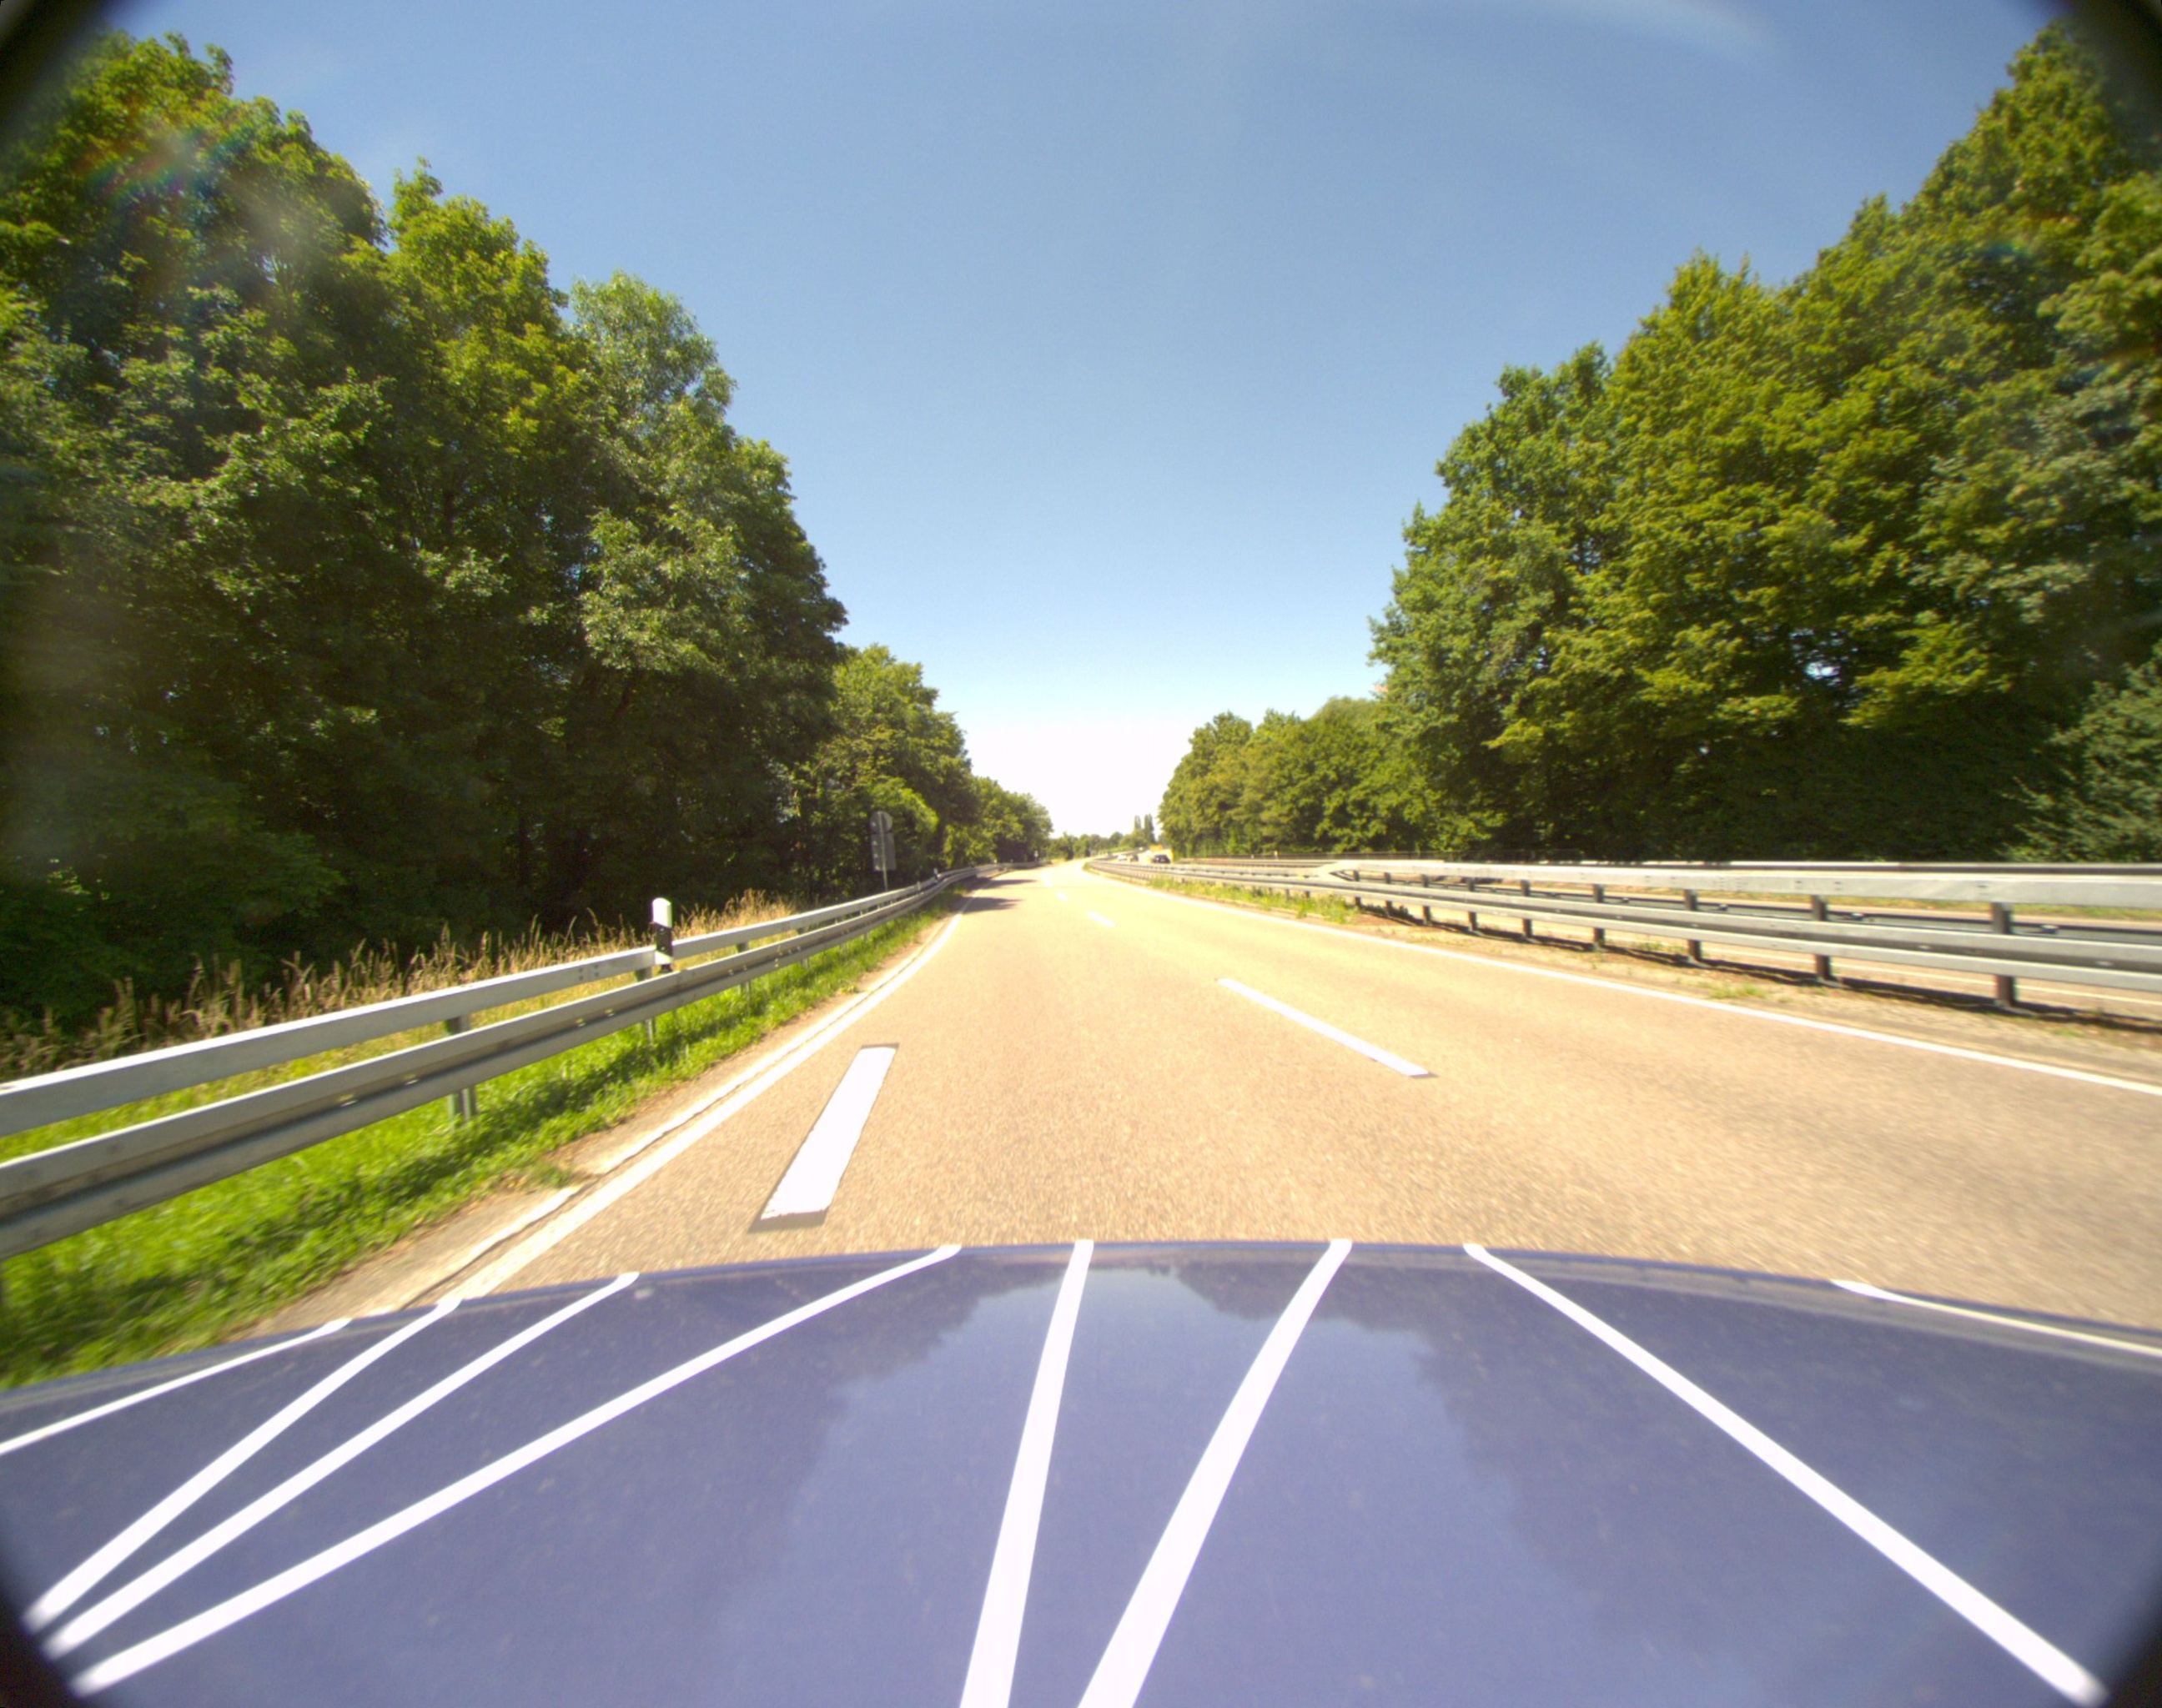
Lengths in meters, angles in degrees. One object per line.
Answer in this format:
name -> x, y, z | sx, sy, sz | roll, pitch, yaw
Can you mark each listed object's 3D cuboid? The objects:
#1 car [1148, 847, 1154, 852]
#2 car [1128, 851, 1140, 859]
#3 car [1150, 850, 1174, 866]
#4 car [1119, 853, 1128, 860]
car -> 20.078, -1.369, 218.298 | 1.654, 1.439, 4.222 | -2, 0, 7
car -> 10.035, 0.172, 143.652 | 1.656, 1.519, 3.997 | -2, 0, -3
car -> 8.687, 0.419, 81.774 | 1.760, 1.519, 4.682 | -2, 0, -3
car -> 9.450, 0.536, 167.642 | 1.655, 1.597, 4.219 | -2, 0, -1
